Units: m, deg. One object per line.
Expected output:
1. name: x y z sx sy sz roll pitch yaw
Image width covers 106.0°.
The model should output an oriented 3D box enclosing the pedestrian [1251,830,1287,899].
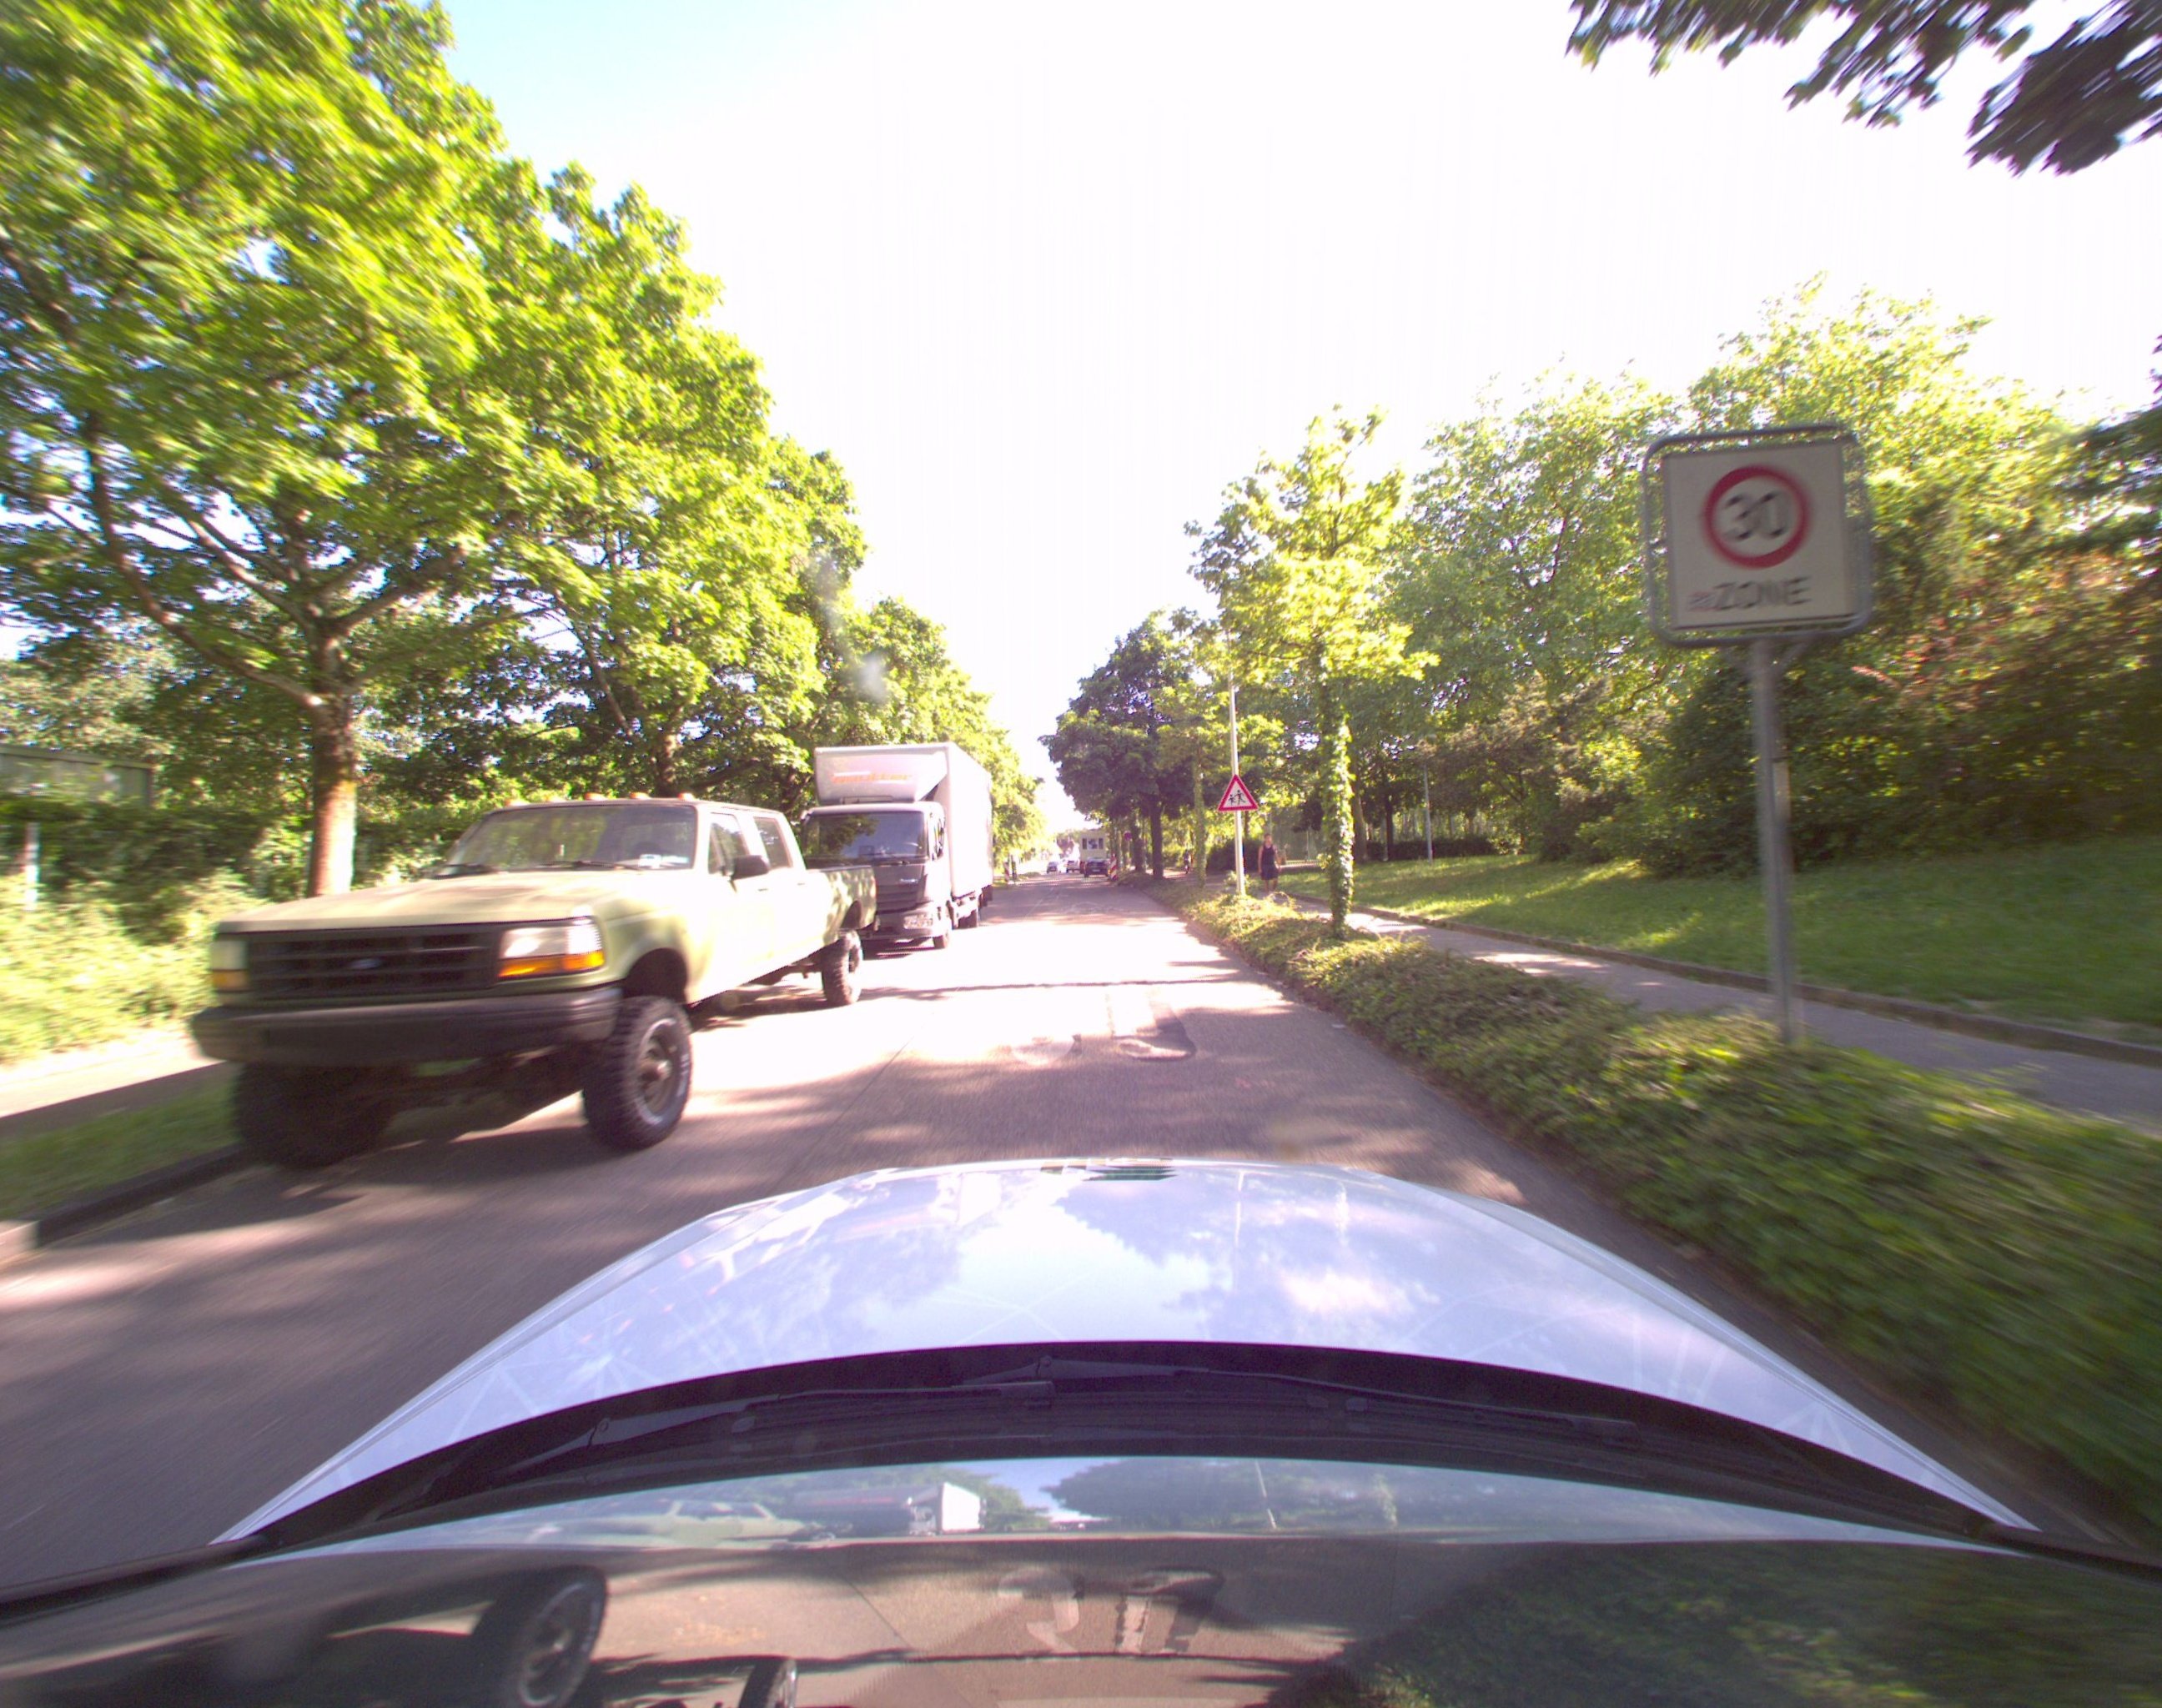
1. pedestrian: 5.133 0.292 22.265 0.788 1.832 0.671 -2 0 0

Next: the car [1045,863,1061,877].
1. car: -3.315 1.853 96.324 1.595 1.426 3.653 -4 0 1

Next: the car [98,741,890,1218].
1. car: -3.440 0.569 7.014 2.113 2.096 6.580 -2 0 -1

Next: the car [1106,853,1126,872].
1. car: 3.012 0.717 70.400 1.633 1.420 4.002 -4 0 2

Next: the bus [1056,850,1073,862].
1. bus: -4.738 0.610 236.125 4.049 3.349 9.806 -3 0 2

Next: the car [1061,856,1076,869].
1. car: -2.078 1.346 134.300 1.983 2.013 4.007 -3 0 6

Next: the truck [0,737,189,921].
1. truck: -13.787 -0.157 9.553 3.978 2.013 2.202 -4 0 -3

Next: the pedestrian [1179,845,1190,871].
1. pedestrian: 6.573 0.258 51.761 0.568 1.608 0.673 -2 0 9

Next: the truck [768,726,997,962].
1. truck: -3.549 -0.157 16.932 2.726 3.641 8.098 -2 0 -1

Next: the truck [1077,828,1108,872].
1. truck: 1.058 -0.365 81.130 2.764 3.996 10.345 -1 0 0

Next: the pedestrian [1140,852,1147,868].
1. pedestrian: 7.591 0.714 98.704 0.696 1.812 0.699 -3 0 -3

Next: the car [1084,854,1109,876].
1. car: 1.155 0.811 59.048 1.742 1.480 4.032 -1 -1 2

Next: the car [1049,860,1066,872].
1. car: -2.980 1.504 103.973 1.749 1.454 4.244 -4 0 1

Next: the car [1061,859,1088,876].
1. car: -0.695 1.491 90.652 1.979 1.684 4.015 -2 0 14
